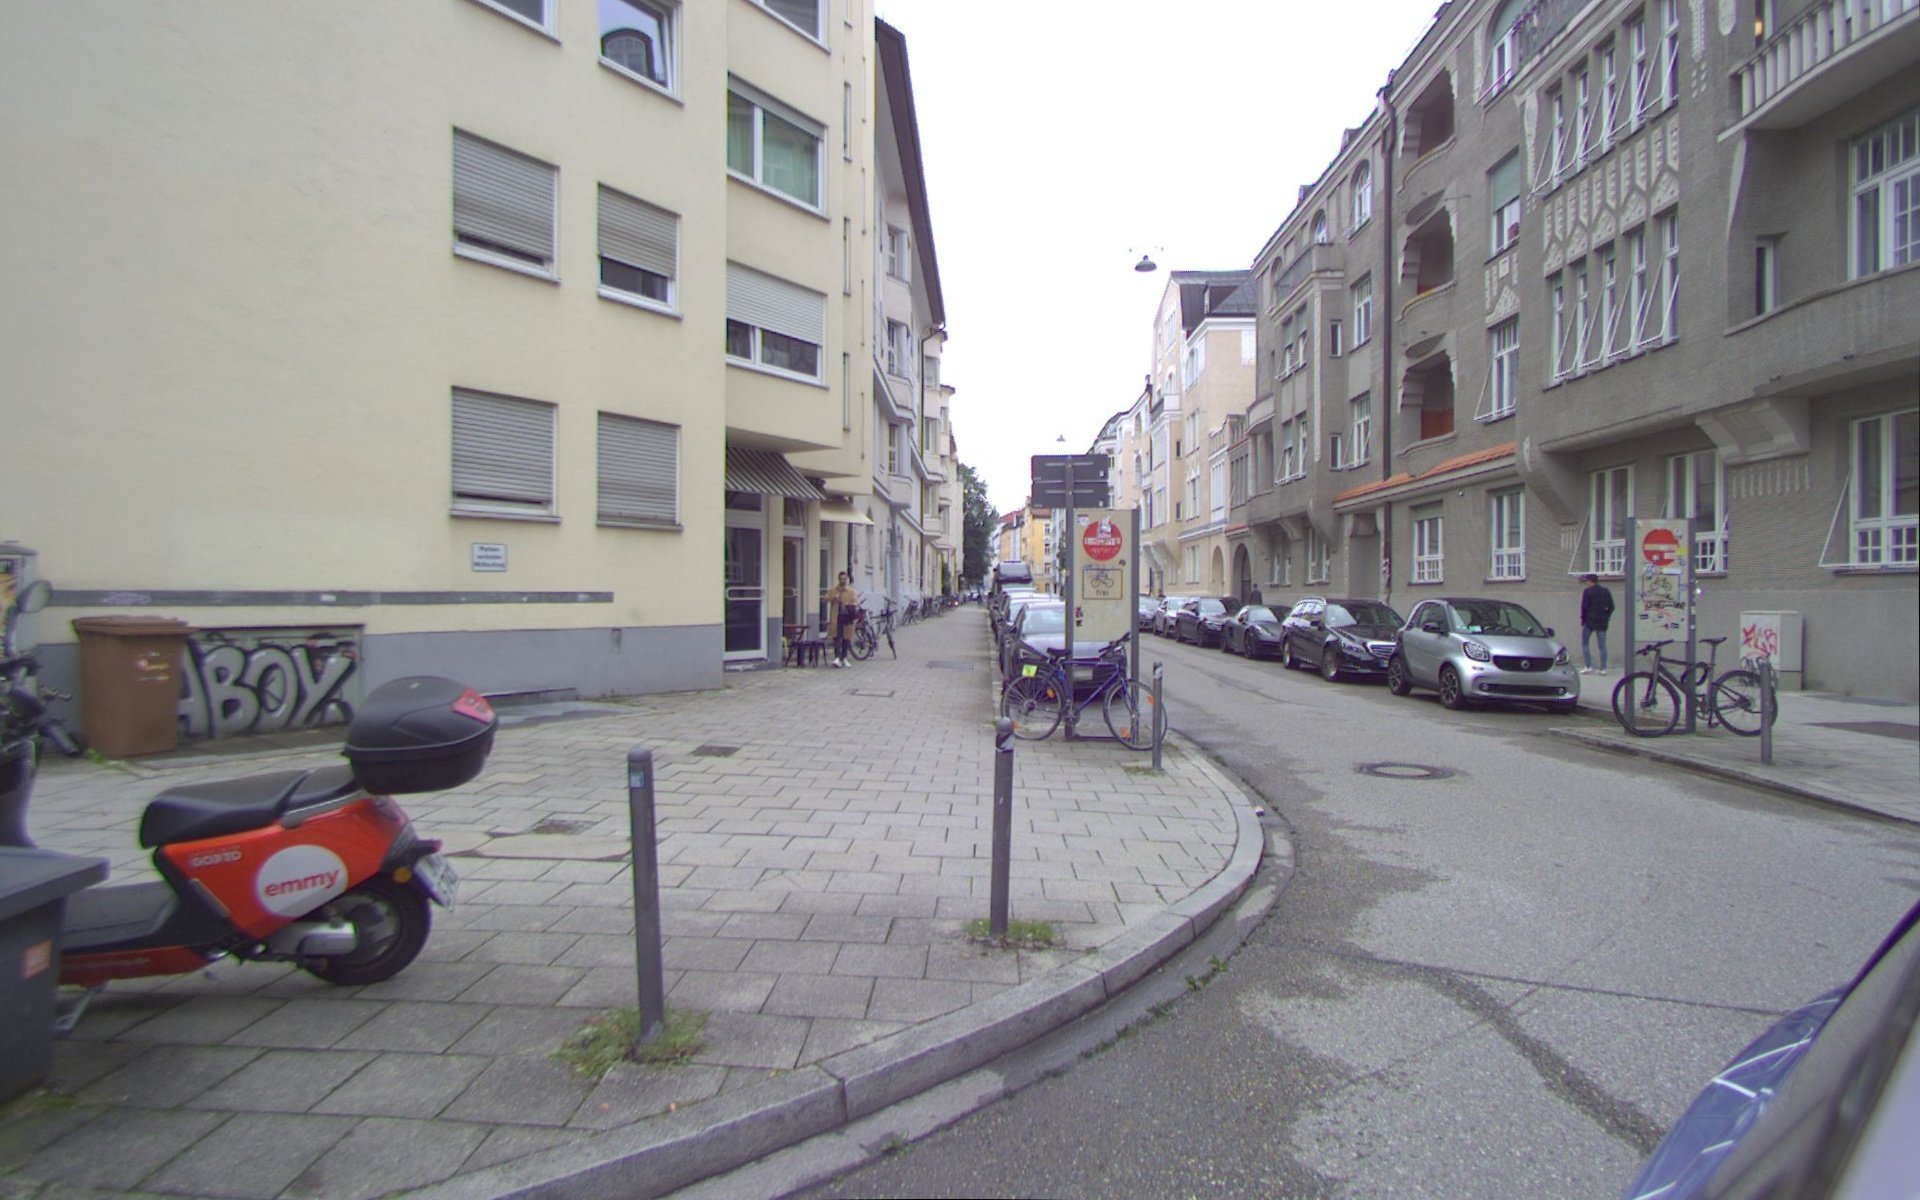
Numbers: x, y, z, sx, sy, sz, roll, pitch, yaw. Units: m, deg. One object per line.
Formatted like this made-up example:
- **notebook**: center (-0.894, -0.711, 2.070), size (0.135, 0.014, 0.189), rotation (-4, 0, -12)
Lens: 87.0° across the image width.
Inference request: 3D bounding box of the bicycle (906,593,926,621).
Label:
- **bicycle**: center (-1.894, 0.289, 43.948), size (0.475, 1.165, 1.783), rotation (-1, 0, 10)

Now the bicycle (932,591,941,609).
- **bicycle**: center (-1.471, -0.001, 63.744), size (0.485, 1.131, 1.967), rotation (-1, 0, 1)

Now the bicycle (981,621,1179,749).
- **bicycle**: center (1.155, 0.782, 9.830), size (1.781, 1.099, 0.659), rotation (1, -1, 29)

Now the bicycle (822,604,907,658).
- **bicycle**: center (-1.956, 0.623, 21.008), size (0.749, 1.045, 1.775), rotation (2, 1, 37)

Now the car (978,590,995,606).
- **car**: center (2.530, -0.169, 96.883), size (1.653, 1.460, 3.644), rotation (-1, 1, 2)

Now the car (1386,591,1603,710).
- **car**: center (7.634, 0.648, 14.770), size (1.678, 1.534, 2.909), rotation (1, 0, 2)

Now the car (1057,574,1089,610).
- **car**: center (8.947, -0.652, 80.760), size (2.067, 2.654, 5.675), rotation (1, 1, 2)

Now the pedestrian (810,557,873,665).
- **pedestrian**: center (-2.166, 0.201, 18.435), size (0.726, 1.871, 1.018), rotation (4, -2, -26)

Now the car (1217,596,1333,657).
- **car**: center (7.668, 0.587, 25.013), size (1.729, 1.348, 4.094), rotation (0, 0, 2)

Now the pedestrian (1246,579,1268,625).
- **pedestrian**: center (12.271, 0.077, 41.830), size (0.705, 1.840, 0.730), rotation (-1, 0, 1)

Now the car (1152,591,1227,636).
- **car**: center (8.018, 0.433, 35.733), size (1.778, 1.449, 4.436), rotation (1, 0, 3)

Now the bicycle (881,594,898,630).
- **bicycle**: center (-2.337, 0.385, 33.635), size (0.474, 1.165, 1.788), rotation (-1, 0, -1)

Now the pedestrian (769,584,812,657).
- **pedestrian**: center (-3.351, 0.388, 20.040), size (0.529, 1.416, 0.665), rotation (0, 0, 35)

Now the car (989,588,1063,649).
- **car**: center (1.751, 0.445, 27.910), size (1.607, 1.556, 3.857), rotation (-1, 1, -3)

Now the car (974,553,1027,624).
- **car**: center (1.797, -0.586, 46.869), size (2.219, 2.996, 6.132), rotation (-1, 1, 1)

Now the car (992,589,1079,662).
- **car**: center (1.616, 0.505, 22.755), size (1.608, 1.490, 3.856), rotation (-1, 1, -1)

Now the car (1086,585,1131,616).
- **car**: center (8.348, -0.008, 57.137), size (1.921, 1.679, 4.616), rotation (0, 1, 1)

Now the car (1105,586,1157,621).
- **car**: center (8.011, 0.141, 47.621), size (1.774, 1.592, 3.814), rotation (-1, 1, 0)

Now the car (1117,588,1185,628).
- **car**: center (7.758, 0.268, 41.498), size (1.807, 1.532, 4.609), rotation (0, 1, -1)

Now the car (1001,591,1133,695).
- **car**: center (1.654, 0.609, 17.054), size (1.666, 1.490, 4.611), rotation (-1, 1, -1)

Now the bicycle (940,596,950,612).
- **bicycle**: center (-1.033, 0.271, 70.231), size (0.636, 1.131, 1.967), rotation (-1, 0, 2)

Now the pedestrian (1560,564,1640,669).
- **pedestrian**: center (11.294, 0.281, 17.883), size (0.826, 1.810, 0.935), rotation (-1, 0, 4)

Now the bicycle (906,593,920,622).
- **bicycle**: center (-1.939, 0.294, 41.533), size (0.474, 1.165, 1.788), rotation (2, 0, -1)

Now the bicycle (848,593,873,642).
- **bicycle**: center (-2.611, 0.439, 26.586), size (0.554, 1.208, 1.678), rotation (2, 0, -3)

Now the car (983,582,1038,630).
- **car**: center (1.929, 0.199, 39.372), size (1.963, 1.710, 4.671), rotation (-1, 0, 2)

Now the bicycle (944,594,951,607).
- **bicycle**: center (-1.011, 0.057, 79.007), size (0.530, 0.970, 1.818), rotation (-1, 1, -1)

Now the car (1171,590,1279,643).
- **car**: center (7.814, 0.429, 30.359), size (1.962, 1.466, 4.779), rotation (0, 1, 0)

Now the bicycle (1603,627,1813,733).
- **bicycle**: center (7.863, 0.832, 10.679), size (1.774, 1.028, 0.540), rotation (-1, 0, 1)

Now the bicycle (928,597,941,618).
- **bicycle**: center (-1.425, 0.423, 57.071), size (0.631, 1.131, 1.967), rotation (-1, 0, 2)

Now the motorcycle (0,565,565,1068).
- **motorcycle**: center (-2.403, 0.596, 3.299), size (2.041, 1.373, 0.819), rotation (1, 1, -21)

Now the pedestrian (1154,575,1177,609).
- **pedestrian**: center (10.808, -0.418, 53.221), size (0.977, 1.750, 0.939), rotation (-1, 0, 1)

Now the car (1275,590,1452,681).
- **car**: center (7.551, 0.577, 19.455), size (1.729, 1.534, 4.703), rotation (0, 0, 3)
